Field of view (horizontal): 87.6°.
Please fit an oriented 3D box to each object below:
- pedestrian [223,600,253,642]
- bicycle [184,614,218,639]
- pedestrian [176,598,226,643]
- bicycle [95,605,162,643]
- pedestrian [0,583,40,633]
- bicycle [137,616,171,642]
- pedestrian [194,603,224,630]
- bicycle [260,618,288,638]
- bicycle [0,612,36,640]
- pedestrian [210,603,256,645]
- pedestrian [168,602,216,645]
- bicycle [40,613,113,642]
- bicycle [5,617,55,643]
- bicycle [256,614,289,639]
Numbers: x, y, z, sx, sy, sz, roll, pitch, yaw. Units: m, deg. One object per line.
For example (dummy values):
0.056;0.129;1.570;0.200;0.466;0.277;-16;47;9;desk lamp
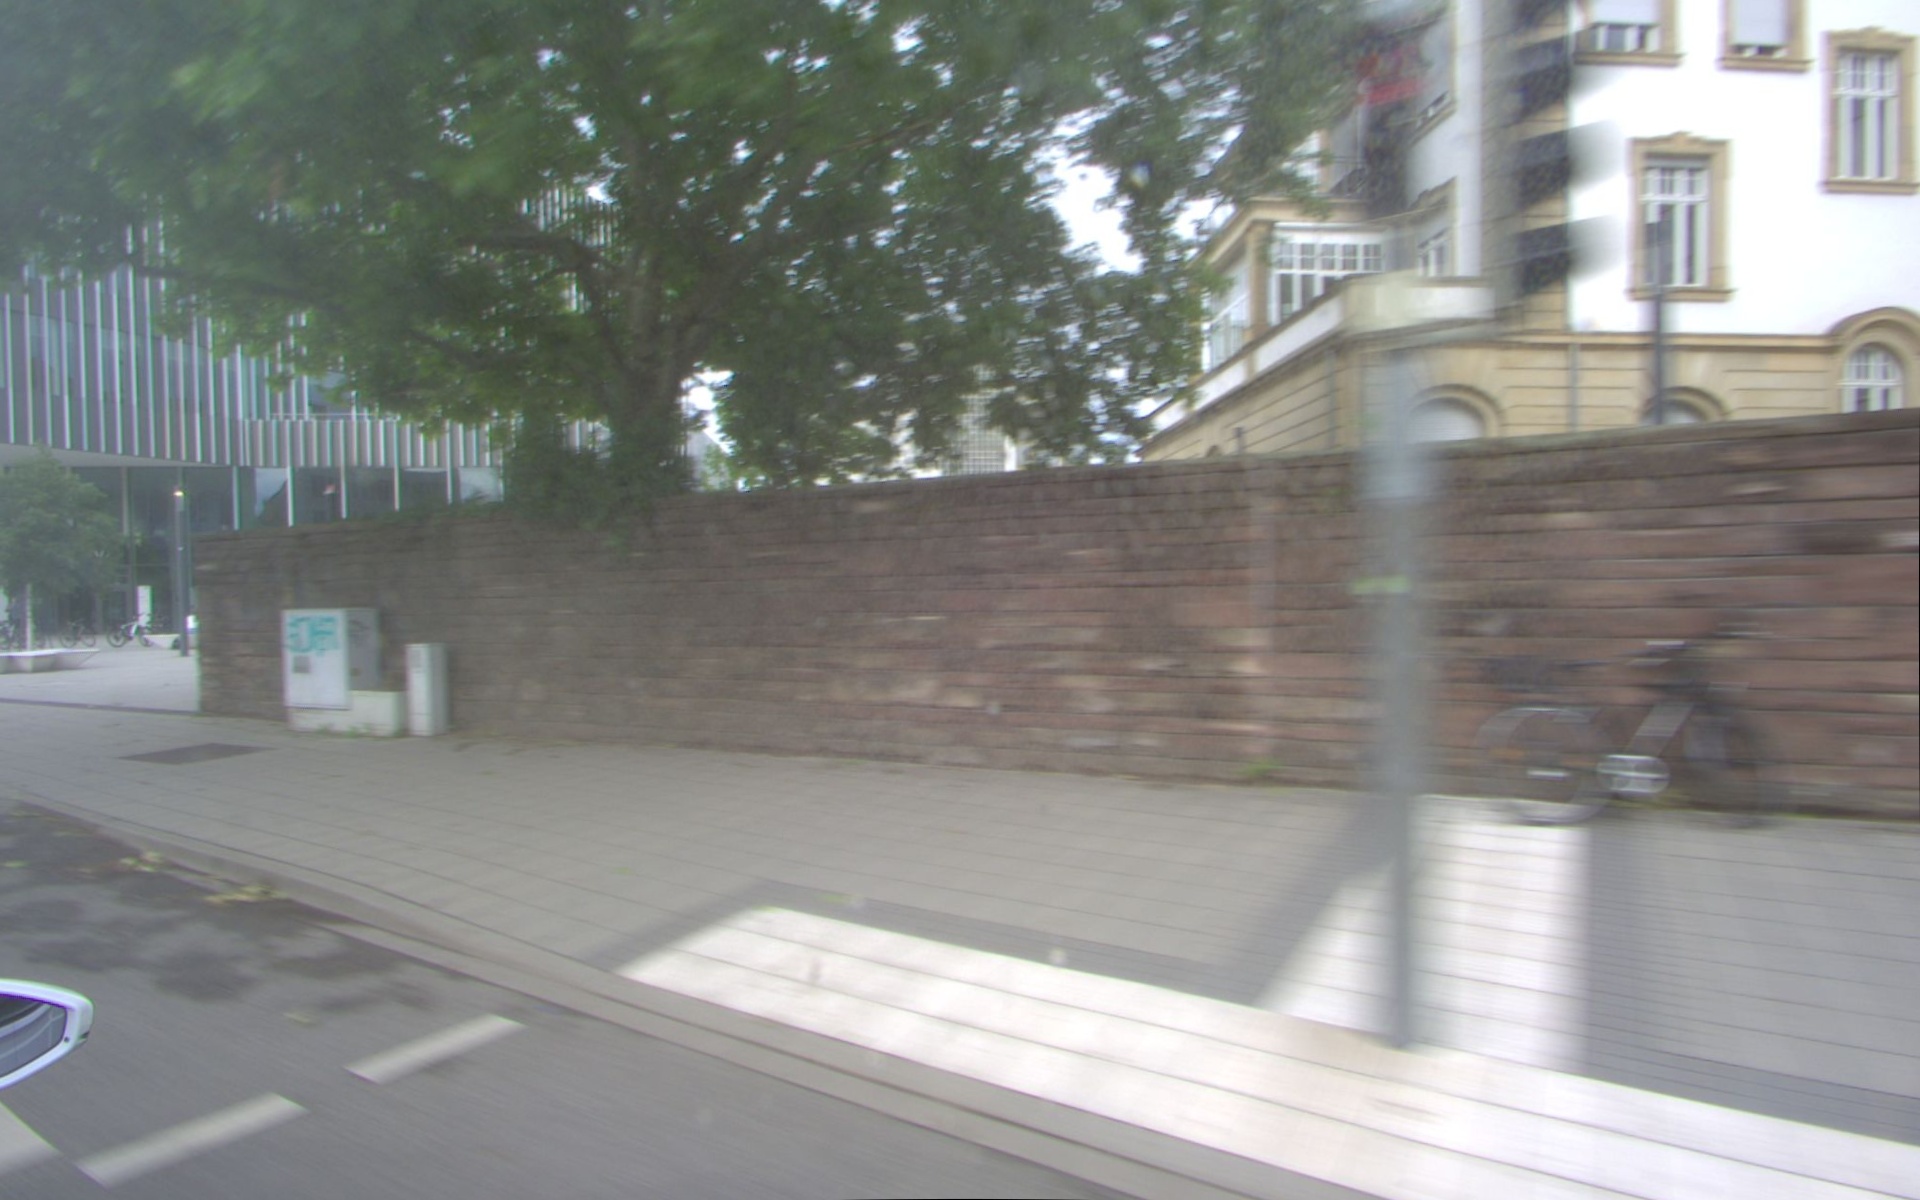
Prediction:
-22.710;0.674;31.477;0.638;1.295;0.643;0;-1;43;pedestrian
-28.511;0.987;37.621;0.532;0.911;1.355;-1;1;-15;bicycle
-23.881;0.642;31.506;0.863;1.385;0.910;0;-1;19;pedestrian
-31.242;0.870;37.674;0.633;1.324;2.007;1;2;8;bicycle
-40.235;0.360;42.824;1.122;2.089;1.176;0;-1;40;pedestrian
-30.116;1.066;37.441;0.387;0.911;1.470;-1;1;-14;bicycle
-23.622;0.513;31.482;0.726;0.834;0.630;-1;1;45;pedestrian
-26.201;1.048;38.269;0.482;0.701;1.184;-1;2;-15;bicycle
-35.524;0.964;37.270;0.760;1.015;1.957;-1;1;-12;bicycle
-22.604;0.745;31.141;0.866;1.274;0.907;0;-1;32;pedestrian
-23.060;0.711;30.071;0.866;1.274;0.907;0;-1;32;pedestrian
-32.730;1.011;37.139;0.766;1.019;2.191;-1;0;-1;bicycle
-34.668;1.111;37.366;0.660;0.911;1.841;-1;1;-19;bicycle
-26.446;1.028;38.534;0.500;0.911;1.548;-1;1;-15;bicycle
